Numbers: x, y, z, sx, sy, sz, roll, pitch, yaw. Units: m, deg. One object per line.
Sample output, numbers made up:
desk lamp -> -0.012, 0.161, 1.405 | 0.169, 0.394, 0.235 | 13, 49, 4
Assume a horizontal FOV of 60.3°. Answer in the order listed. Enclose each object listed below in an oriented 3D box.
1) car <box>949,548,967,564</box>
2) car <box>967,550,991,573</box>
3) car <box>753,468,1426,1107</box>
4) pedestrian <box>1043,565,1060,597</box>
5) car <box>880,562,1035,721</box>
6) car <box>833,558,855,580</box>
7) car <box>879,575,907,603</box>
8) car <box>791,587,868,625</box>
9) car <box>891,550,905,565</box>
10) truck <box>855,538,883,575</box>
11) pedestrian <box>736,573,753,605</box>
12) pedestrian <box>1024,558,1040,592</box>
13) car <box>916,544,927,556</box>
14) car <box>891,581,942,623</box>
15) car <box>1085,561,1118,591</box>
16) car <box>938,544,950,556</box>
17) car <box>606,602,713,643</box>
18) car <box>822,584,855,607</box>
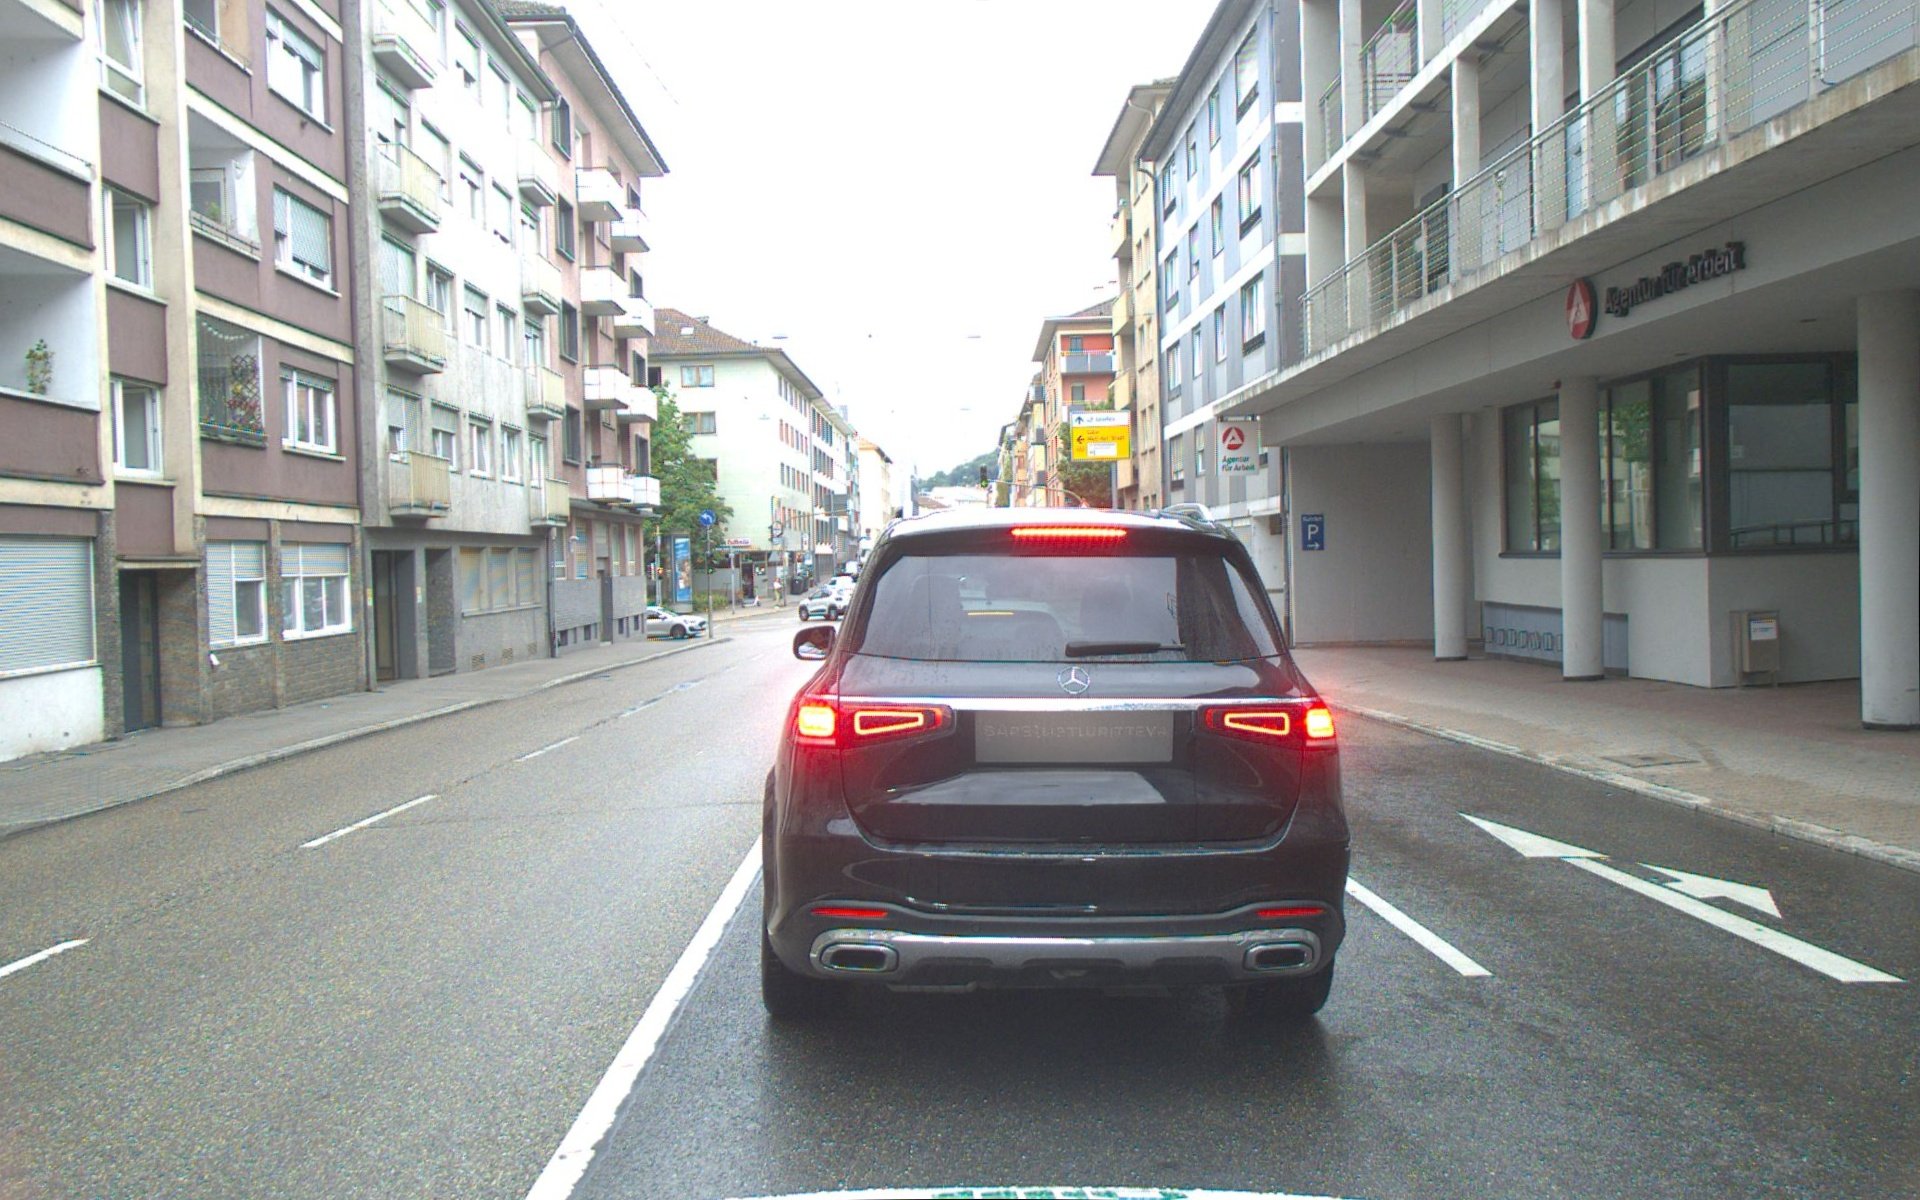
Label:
car -> -0.210, -4.650, 175.323 | 1.586, 1.411, 4.215 | -3, 0, -3
car -> 1.570, -3.197, 139.420 | 1.689, 1.790, 4.215 | -3, 1, -3
car -> 0.353, 0.560, 7.032 | 1.944, 1.836, 4.389 | 1, 0, -1
pedestrian -> 5.388, -1.124, 97.462 | 0.904, 1.836, 0.706 | -2, 0, -3
car -> -0.133, 0.482, 20.839 | 1.716, 1.762, 4.215 | -1, 0, -3
car -> -9.207, -2.480, 131.503 | 1.586, 1.566, 4.215 | -3, 0, -3
car -> -4.127, -0.642, 101.182 | 1.586, 1.566, 4.215 | -3, 0, -3
car -> -6.197, 0.287, 77.984 | 1.606, 1.566, 4.162 | -3, 0, -36
car -> -7.276, -4.935, 193.617 | 1.586, 1.566, 4.215 | -3, 0, -3
truck -> -8.595, -4.046, 156.955 | 2.430, 3.099, 9.914 | -3, 0, -3
pedestrian -> -13.265, -0.703, 101.706 | 0.904, 1.935, 0.706 | -2, 0, -3
pedestrian -> 4.484, -1.543, 102.820 | 0.904, 2.049, 0.706 | -2, 0, -3
car -> -5.815, -7.566, 250.185 | 1.586, 1.566, 4.215 | -3, 0, -3
car -> -1.814, 0.108, 67.804 | 1.780, 1.566, 4.213 | -3, 0, -5
car -> 8.094, -1.352, 94.730 | 1.636, 1.616, 3.331 | -2, 1, 1
car -> -2.363, -7.567, 248.795 | 1.586, 1.566, 4.215 | -3, 0, -3
car -> -13.106, 0.974, 72.282 | 4.255, 1.566, 1.778 | -3, 0, 2
car -> -7.363, -0.265, 100.850 | 1.848, 1.286, 4.215 | -3, 0, -3
